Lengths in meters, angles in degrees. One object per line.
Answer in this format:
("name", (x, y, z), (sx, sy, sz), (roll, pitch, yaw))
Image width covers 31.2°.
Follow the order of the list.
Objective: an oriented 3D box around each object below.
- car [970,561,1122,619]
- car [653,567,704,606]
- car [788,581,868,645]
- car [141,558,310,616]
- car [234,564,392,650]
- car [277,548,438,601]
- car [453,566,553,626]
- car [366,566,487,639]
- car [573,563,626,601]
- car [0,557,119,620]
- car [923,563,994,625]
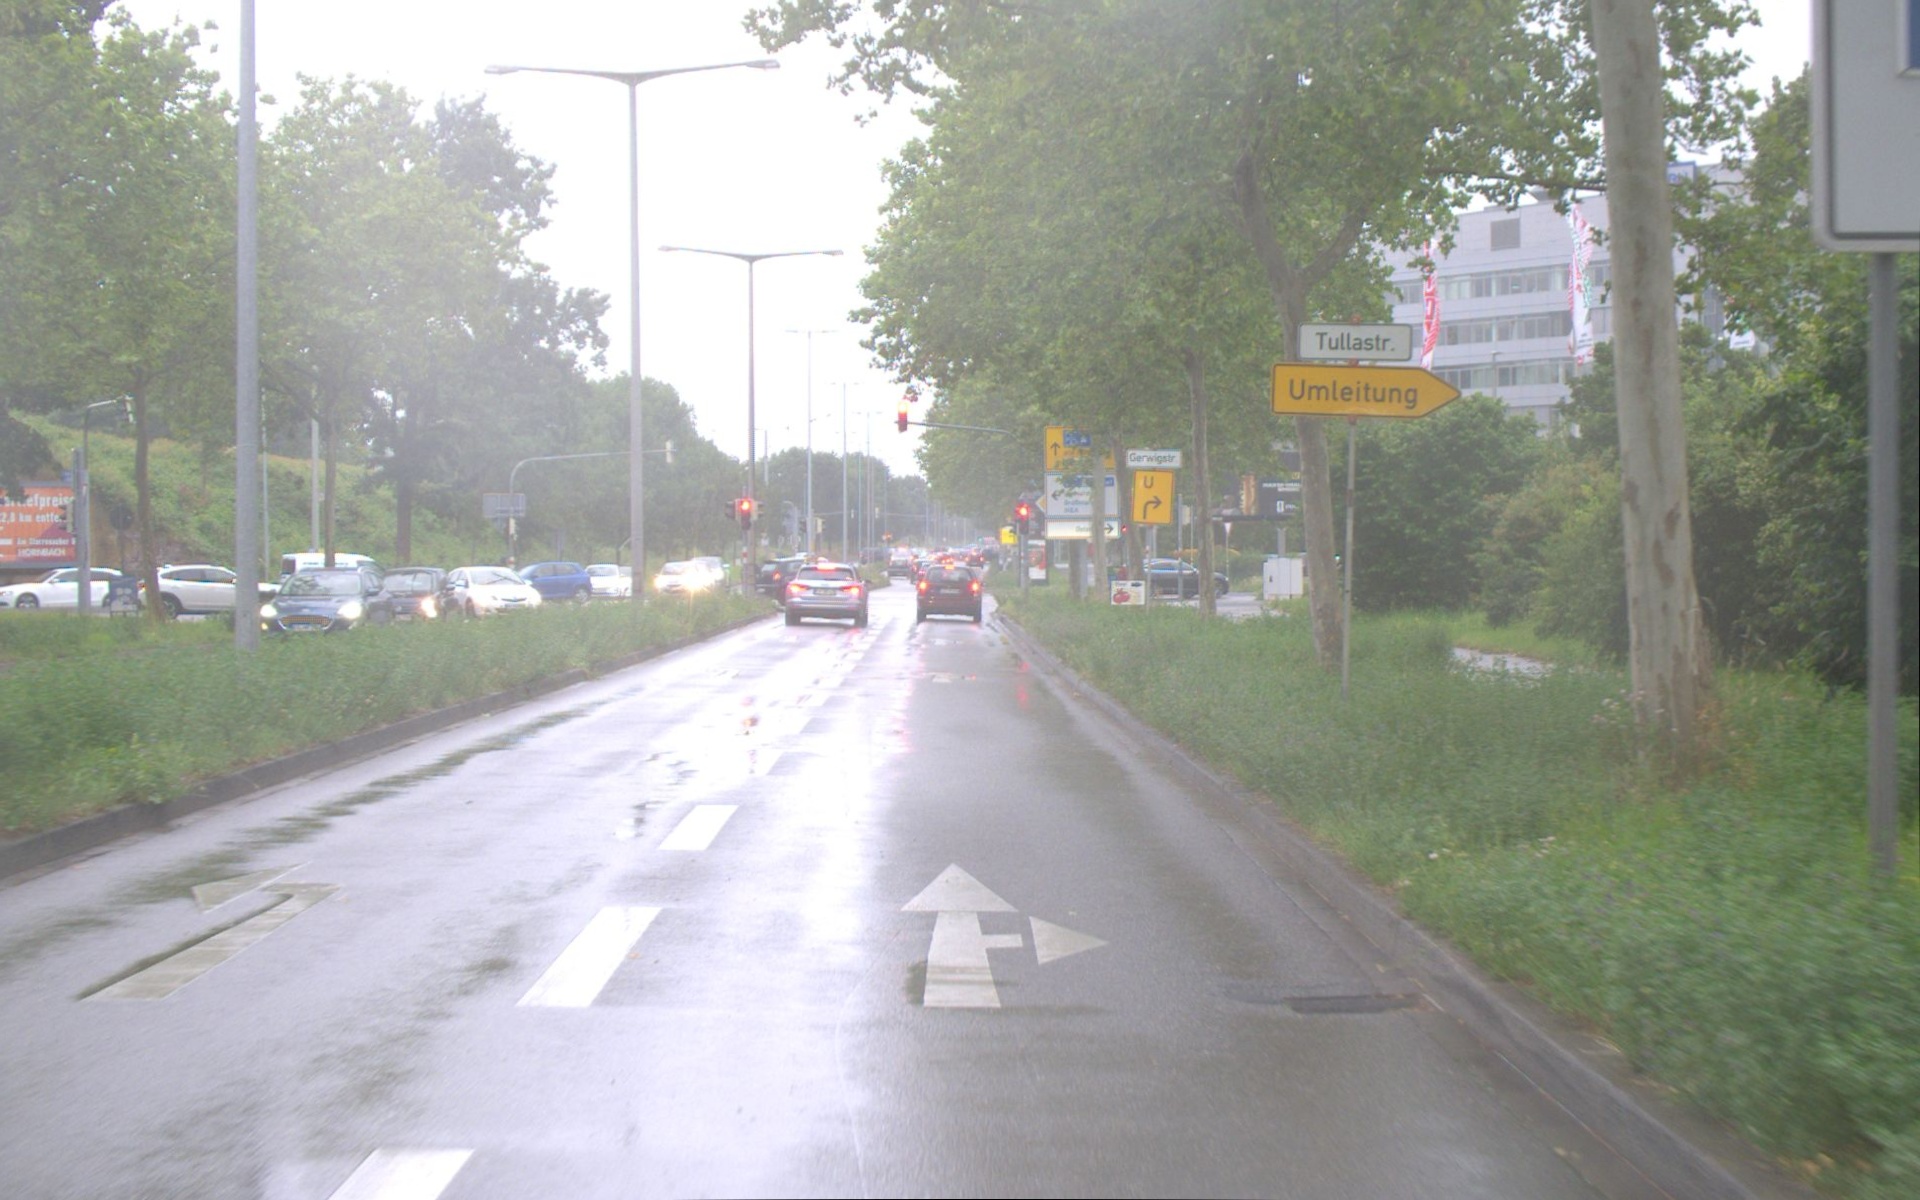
("car", (2.560, -0.311, 101.939), (4.374, 1.531, 1.801), (-3, 3, -39))
("car", (-11.391, -0.560, 139.236), (1.712, 1.525, 4.000), (0, 0, 0))
("car", (-3.077, 0.283, 80.705), (1.690, 1.428, 4.574), (1, 0, 0))
("car", (-20.196, -0.361, 94.576), (4.502, 1.583, 1.863), (0, 0, -12))
("car", (-11.329, 0.100, 60.470), (1.931, 1.440, 4.496), (1, 1, 0))
("car", (-17.948, -0.753, 102.396), (4.372, 1.532, 1.802), (0, 0, -29))
("car", (-11.556, -0.123, 87.142), (1.931, 1.440, 4.657), (1, 1, 0))
("car", (-11.032, 0.039, 71.268), (1.931, 1.440, 3.707), (1, 0, 0))
("car", (-14.458, -0.730, 138.049), (1.712, 1.525, 4.000), (0, 0, 0))
("car", (-28.449, -0.370, 107.385), (3.986, 1.839, 2.001), (2, 0, -21))
("car", (-0.034, -0.172, 91.163), (1.796, 1.532, 4.387), (2, 0, 0))
